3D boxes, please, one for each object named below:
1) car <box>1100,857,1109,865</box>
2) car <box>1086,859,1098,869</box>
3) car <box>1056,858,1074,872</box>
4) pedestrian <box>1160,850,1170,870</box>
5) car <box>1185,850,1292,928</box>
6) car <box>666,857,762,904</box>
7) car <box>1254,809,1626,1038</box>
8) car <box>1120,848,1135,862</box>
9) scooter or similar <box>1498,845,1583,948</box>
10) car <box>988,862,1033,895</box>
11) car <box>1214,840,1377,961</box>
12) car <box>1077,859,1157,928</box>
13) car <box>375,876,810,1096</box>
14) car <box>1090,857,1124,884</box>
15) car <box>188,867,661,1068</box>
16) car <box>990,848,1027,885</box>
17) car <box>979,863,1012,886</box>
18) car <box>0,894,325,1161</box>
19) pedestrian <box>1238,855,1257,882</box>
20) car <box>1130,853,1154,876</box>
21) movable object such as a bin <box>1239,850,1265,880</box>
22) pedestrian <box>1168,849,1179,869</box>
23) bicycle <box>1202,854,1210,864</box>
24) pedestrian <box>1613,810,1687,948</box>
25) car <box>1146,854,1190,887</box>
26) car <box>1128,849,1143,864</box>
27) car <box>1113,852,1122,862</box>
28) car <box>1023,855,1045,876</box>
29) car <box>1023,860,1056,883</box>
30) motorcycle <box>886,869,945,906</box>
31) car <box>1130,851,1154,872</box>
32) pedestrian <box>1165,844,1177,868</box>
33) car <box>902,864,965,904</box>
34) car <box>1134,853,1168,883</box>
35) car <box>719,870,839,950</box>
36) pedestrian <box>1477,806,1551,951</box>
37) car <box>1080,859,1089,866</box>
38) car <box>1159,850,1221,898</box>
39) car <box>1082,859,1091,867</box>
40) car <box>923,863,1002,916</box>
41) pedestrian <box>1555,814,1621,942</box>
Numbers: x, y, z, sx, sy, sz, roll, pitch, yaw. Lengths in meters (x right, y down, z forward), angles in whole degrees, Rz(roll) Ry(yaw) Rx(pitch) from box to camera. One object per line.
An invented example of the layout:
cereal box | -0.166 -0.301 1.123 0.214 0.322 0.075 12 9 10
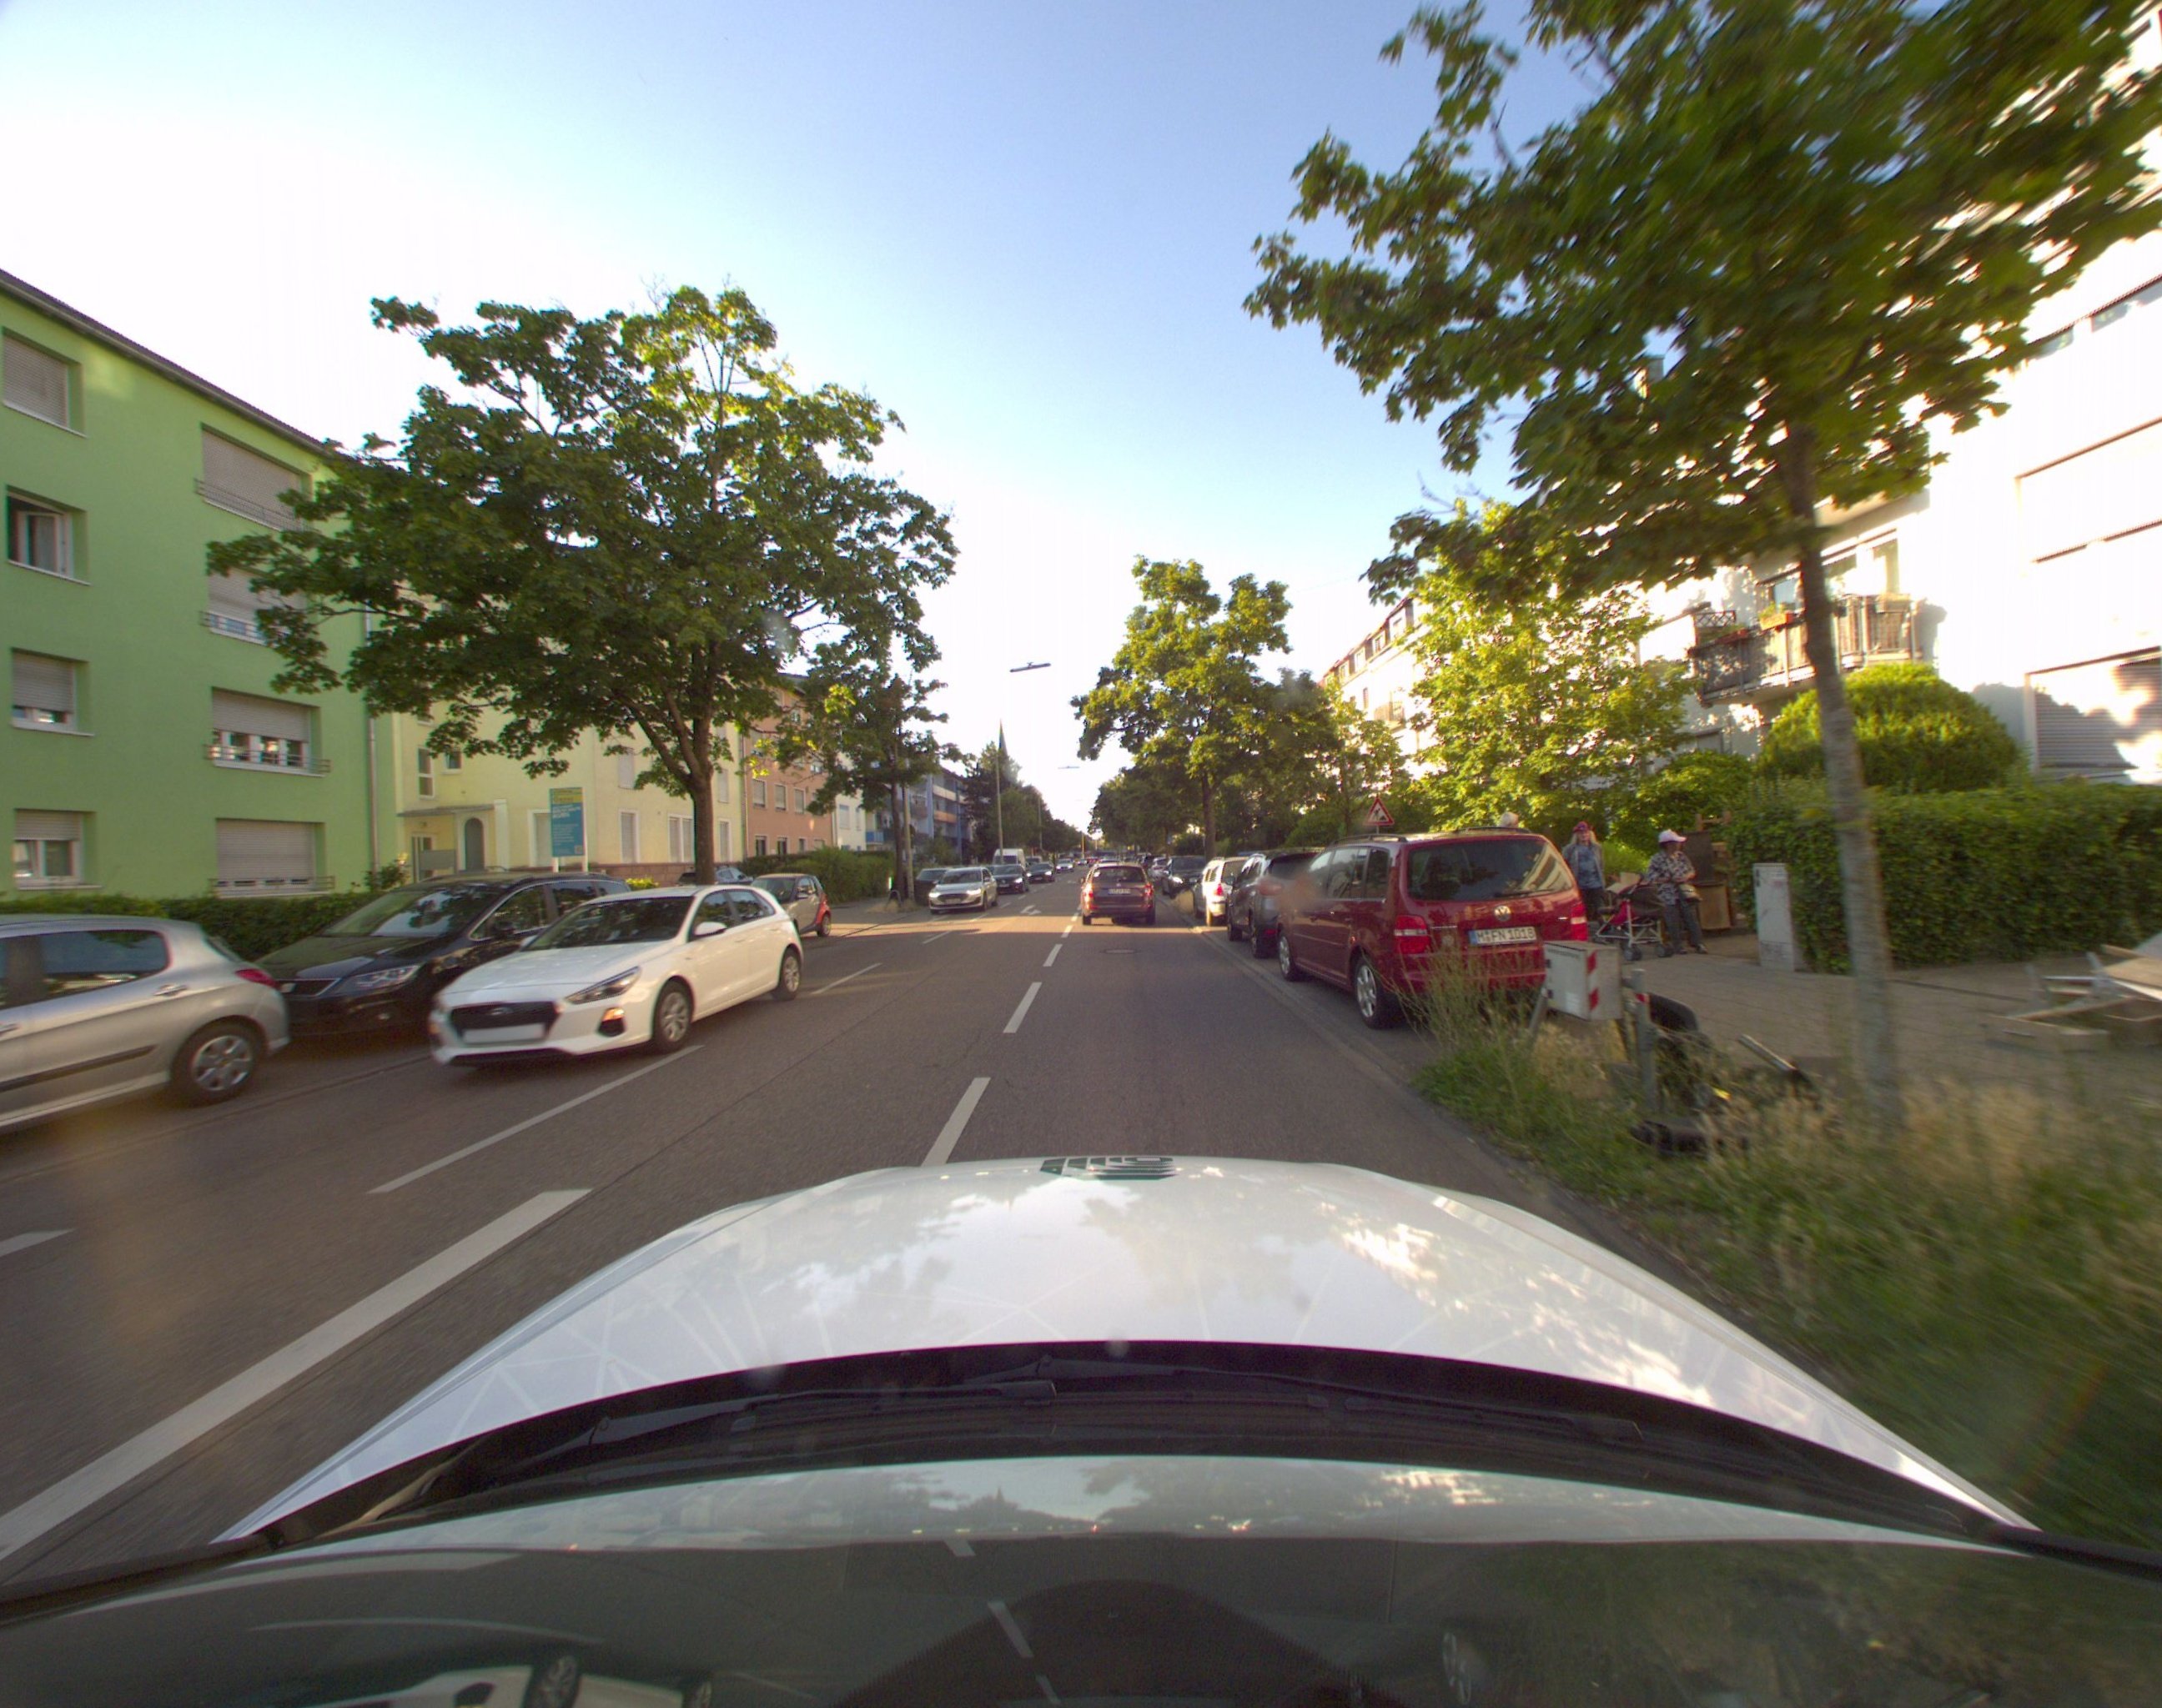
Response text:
car | 5.321 1.632 186.130 1.641 1.599 3.645 -3 0 -4
car | 1.841 1.628 133.785 1.776 1.480 3.968 -1 0 -1
car | -1.809 1.226 92.527 1.874 1.543 4.264 -3 0 -1
pedestrian | 8.075 0.558 78.434 0.746 1.861 1.068 -3 -1 1
car | 3.516 0.728 18.921 1.631 1.490 4.416 -4 0 1
car | -14.284 1.005 31.928 1.821 1.683 4.001 -2 -1 1
car | 3.200 0.534 8.446 1.717 1.655 4.595 -2 0 -1
car | 6.521 0.103 114.385 1.908 1.860 5.638 -2 0 3
scooter or similar | 6.134 0.551 10.913 0.742 1.317 0.722 -2 -1 8
car | -3.425 1.163 40.122 1.694 1.403 4.029 -4 0 1
car | 3.294 0.655 13.256 1.630 1.568 4.002 -4 0 2
car | 0.922 0.886 20.115 1.747 1.492 4.003 -1 0 3
car | -4.424 1.063 8.293 1.810 1.446 4.110 -5 0 0
car | 1.532 0.974 47.702 1.885 1.506 3.790 1 -1 1
car | -7.274 1.091 9.840 1.777 1.733 4.619 -3 0 2
car | -5.429 0.881 61.818 1.986 2.616 7.106 -1 0 1
car | -5.783 1.348 55.516 1.700 1.492 4.060 0 0 2
car | -7.395 1.132 4.919 1.677 1.521 4.190 -2 0 0
pedestrian | 7.691 0.663 37.606 0.670 1.235 0.791 -2 -1 2
car | 4.913 0.828 65.870 1.747 1.662 4.256 -4 0 3
movable object such as a bin | 9.350 0.592 44.463 1.259 1.492 1.143 -5 -1 11
pedestrian | 8.864 0.466 78.058 0.793 1.861 0.954 -3 -1 12
bicycle | 12.492 0.476 81.378 0.473 0.944 1.680 -3 0 1
pedestrian | 7.272 0.311 10.424 0.509 1.697 0.526 -2 -1 -3
car | 4.331 0.788 41.104 1.712 1.494 4.394 -3 0 1
car | 6.490 0.287 97.818 1.747 1.686 4.256 -1 0 3
car | 7.235 0.603 162.272 1.747 1.806 4.002 -1 0 2
car | -4.843 1.160 84.971 1.862 2.031 5.301 -2 0 1
car | -2.912 1.222 58.019 1.692 1.470 4.299 -4 0 4
motorcycle | -6.427 1.294 31.647 2.034 1.389 0.981 0 -2 -31
car | 5.617 0.701 75.046 1.795 1.808 4.422 -1 0 0
pedestrian | 6.471 0.127 58.719 0.784 1.700 0.809 -2 -1 6
car | -6.348 1.257 35.569 1.772 1.505 4.590 -2 0 1
car | 4.146 0.812 48.531 1.712 1.601 4.097 -3 0 1
car | -6.947 1.242 19.004 1.492 1.617 2.865 -2 0 5
pedestrian | 5.806 0.322 10.957 0.545 1.849 0.766 -4 -1 8
car | 1.002 2.296 210.467 1.989 1.750 3.995 -3 0 -4
car | 4.044 0.706 30.866 1.866 1.581 4.824 -4 0 3
car | 1.127 1.797 169.960 1.774 1.494 3.973 -4 0 2
car | -3.966 1.155 27.958 1.825 1.470 4.452 -5 0 1
pedestrian | 6.956 0.316 11.190 0.509 1.697 0.526 -2 -1 -3
